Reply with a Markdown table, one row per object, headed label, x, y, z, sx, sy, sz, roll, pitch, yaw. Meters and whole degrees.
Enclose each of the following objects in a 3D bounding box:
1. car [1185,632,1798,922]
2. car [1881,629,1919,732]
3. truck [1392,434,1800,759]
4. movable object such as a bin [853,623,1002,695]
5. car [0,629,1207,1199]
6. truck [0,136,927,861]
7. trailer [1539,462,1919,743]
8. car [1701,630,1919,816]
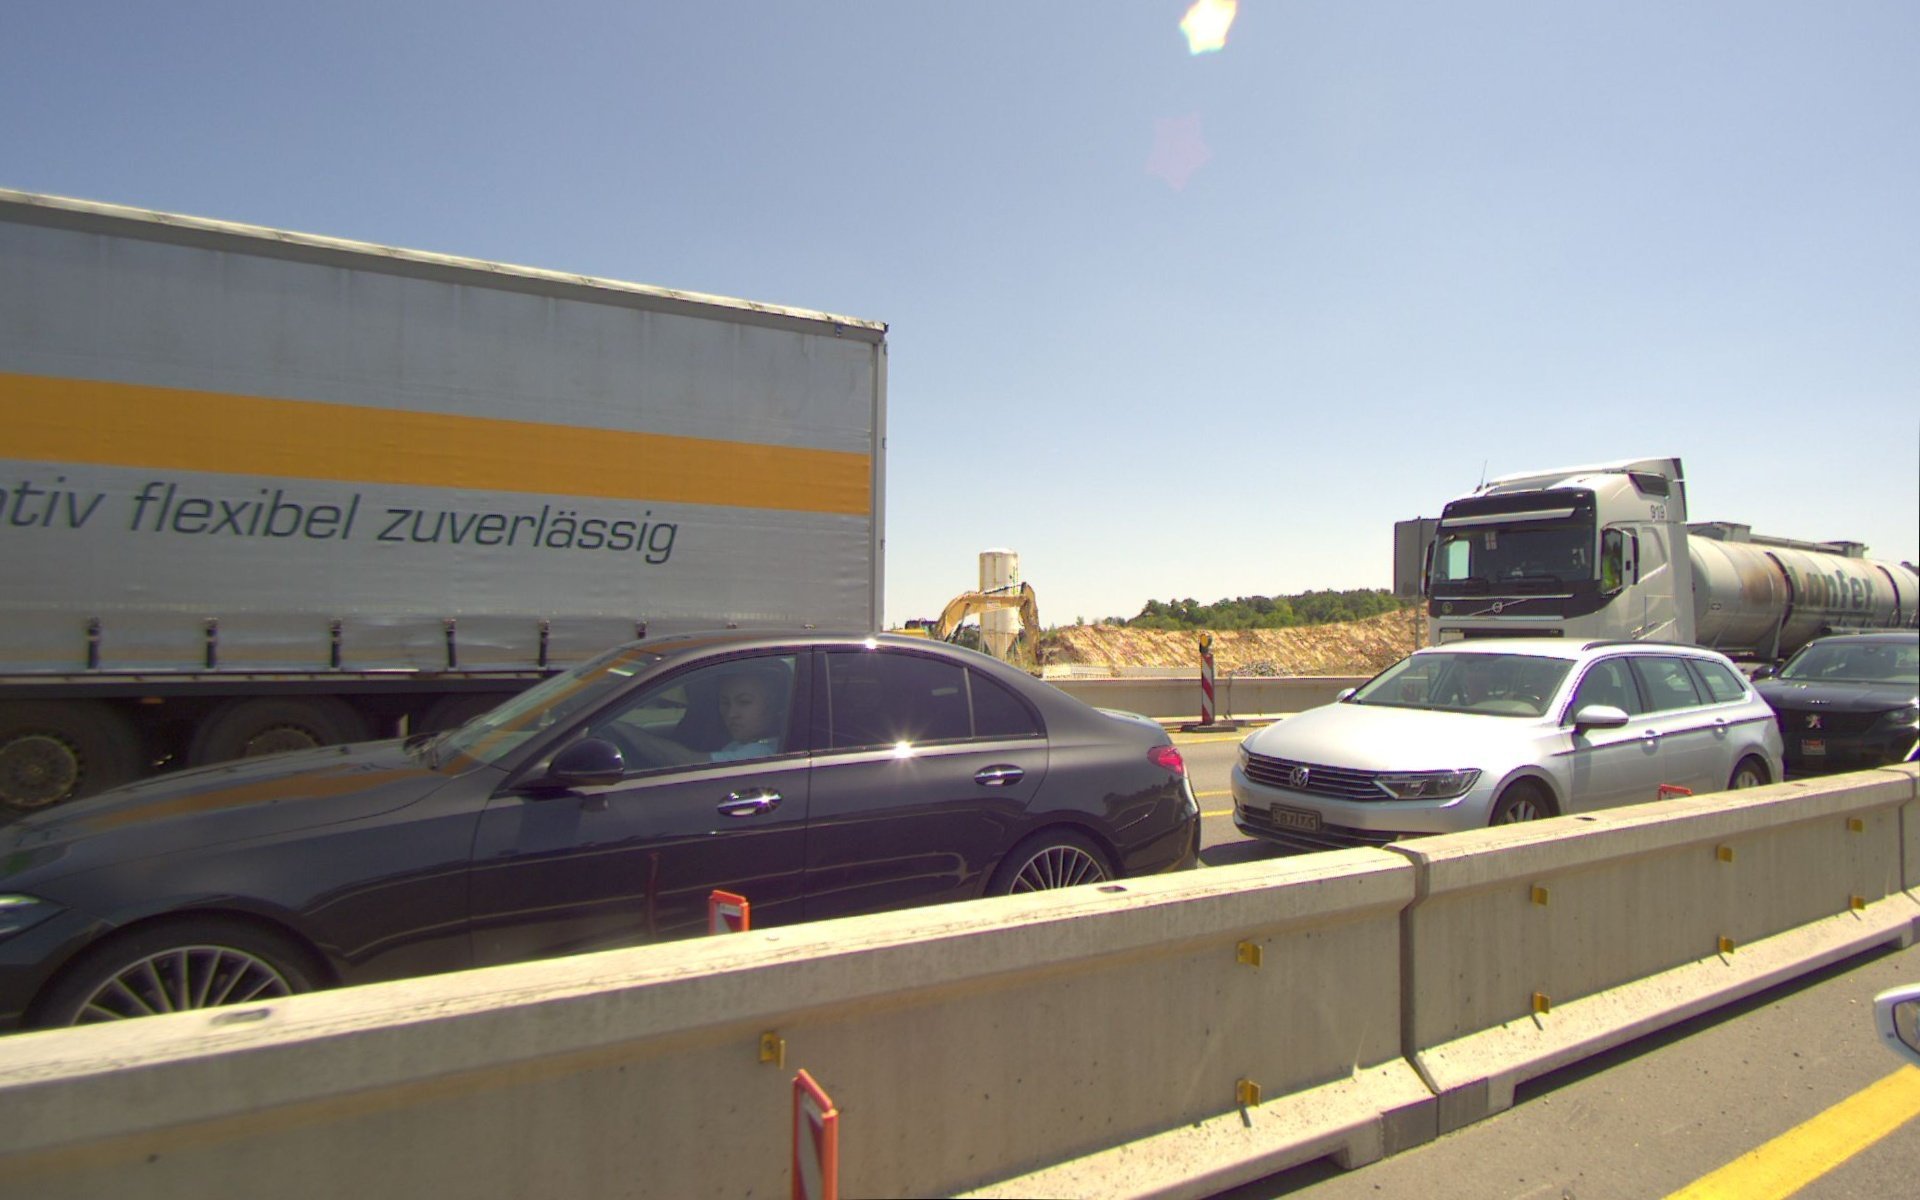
| label | x | y | z | sx | sy | sz | roll | pitch | yaw |
| --- | --- | --- | --- | --- | --- | --- | --- | --- | --- |
| car | 3.810 | 0.960 | 6.962 | 4.501 | 1.463 | 1.670 | 1 | -2 | -31 |
| car | 15.627 | 1.167 | 14.970 | 4.746 | 1.435 | 1.725 | 1 | -2 | -34 |
| truck | 9.670 | 0.045 | 15.159 | 6.127 | 4.021 | 2.687 | 1 | -2 | -31 |
| movable object such as a bin | -1.539 | 2.777 | 47.973 | 5.959 | 3.089 | 3.816 | -1 | -3 | -37 |
| car | -1.156 | 0.859 | 4.029 | 4.197 | 1.472 | 1.649 | 1 | -2 | -29 |
| truck | -6.097 | -0.566 | 7.348 | 11.624 | 4.334 | 2.765 | 1 | -2 | -26 |
| trailer | 15.120 | 0.160 | 18.419 | 11.113 | 4.030 | 2.692 | 1 | -2 | -31 |
| car | 9.393 | 1.094 | 10.178 | 4.072 | 1.564 | 1.669 | 1 | -2 | -32 |
